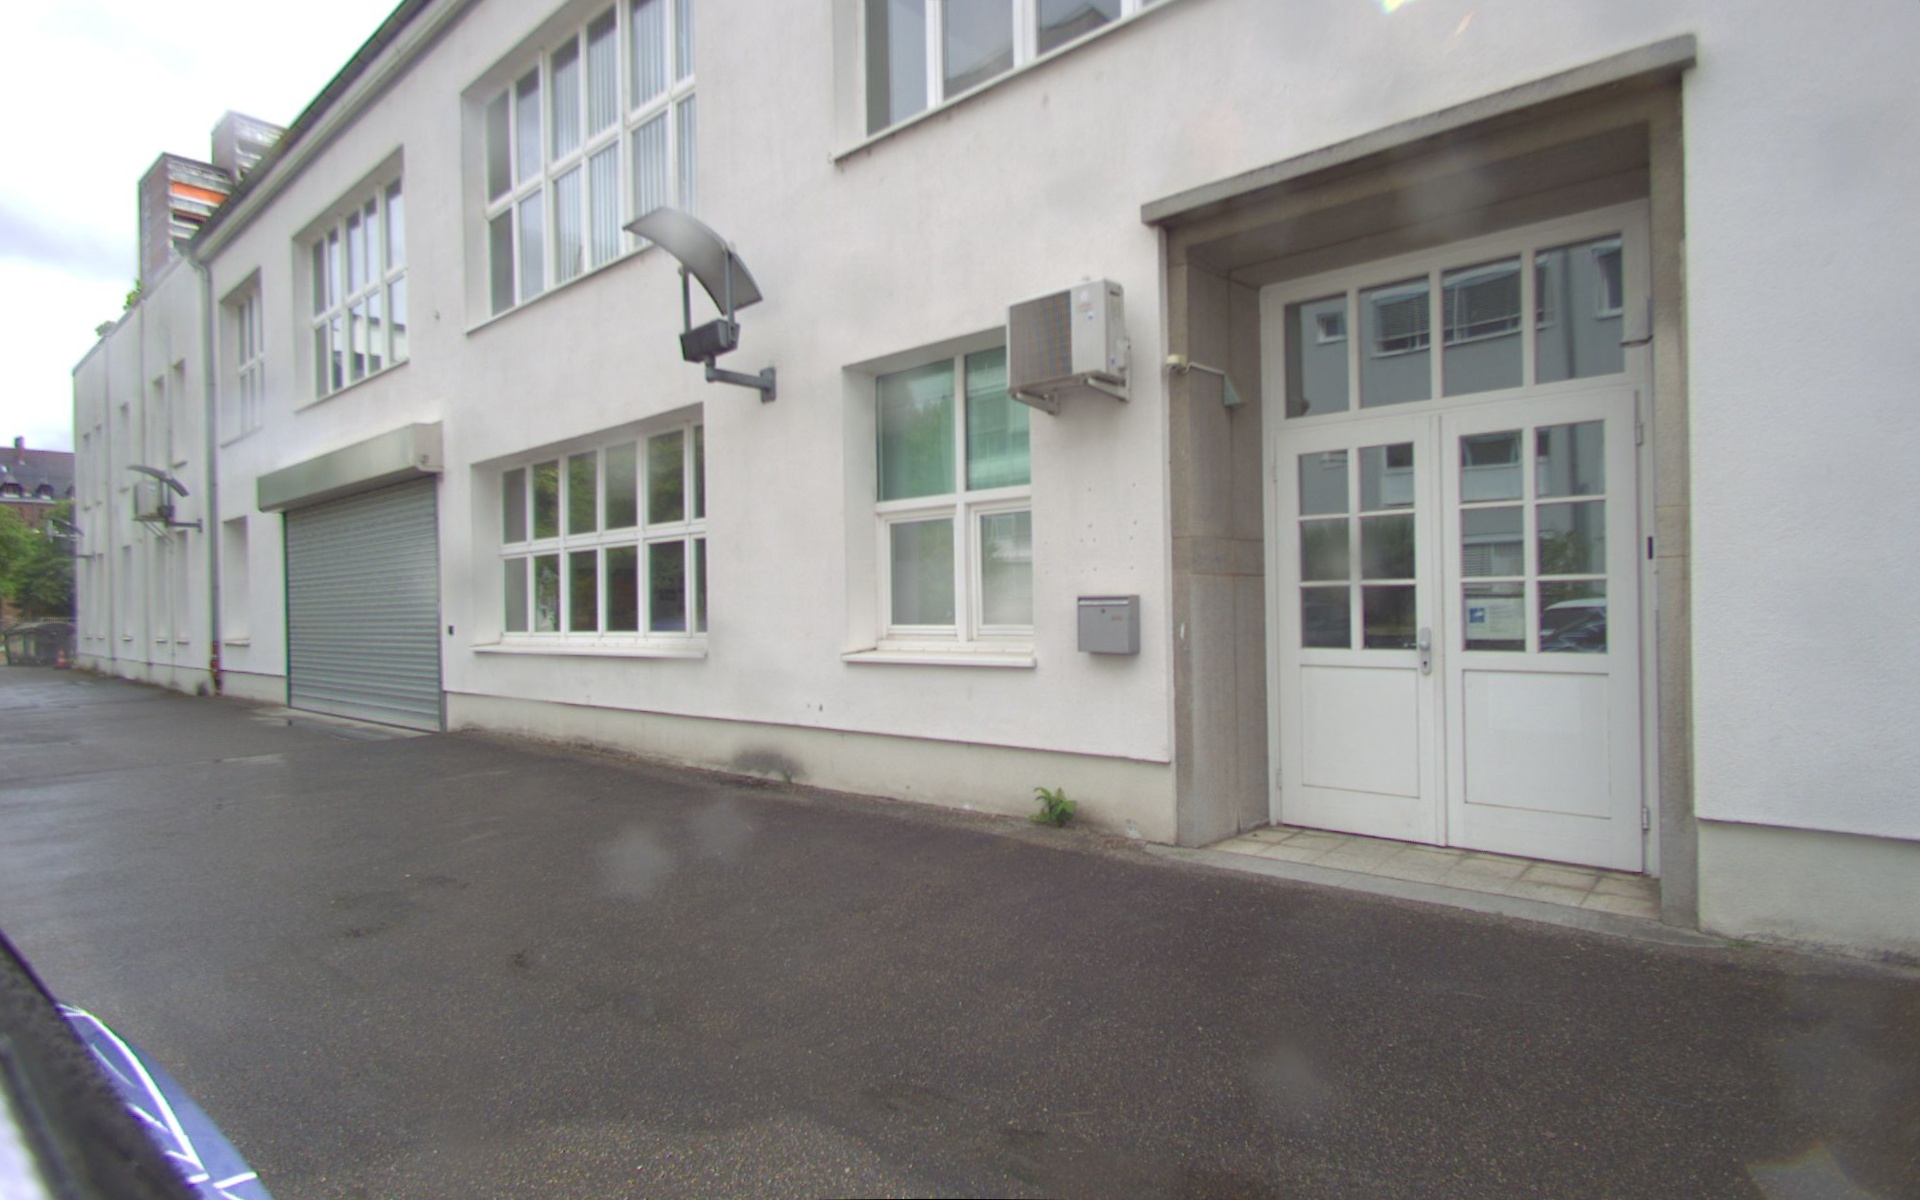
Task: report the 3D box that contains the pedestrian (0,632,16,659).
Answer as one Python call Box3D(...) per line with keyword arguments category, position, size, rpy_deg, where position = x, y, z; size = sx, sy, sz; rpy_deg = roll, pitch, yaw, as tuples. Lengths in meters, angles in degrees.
Box3D(category="pedestrian", position=(-54.520, 2.613, 57.776), size=(0.616, 1.520, 0.649), rpy_deg=(-2, -1, 1))

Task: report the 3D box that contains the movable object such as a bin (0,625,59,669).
Box3D(category="movable object such as a bin", position=(-33.911, 1.716, 36.883), size=(1.560, 1.481, 1.394), rpy_deg=(-3, 0, 41))

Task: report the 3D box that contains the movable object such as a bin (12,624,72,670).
Box3D(category="movable object such as a bin", position=(-31.634, 1.614, 34.886), size=(1.351, 1.481, 1.345), rpy_deg=(-3, 0, 41))

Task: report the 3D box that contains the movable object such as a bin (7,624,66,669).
Box3D(category="movable object such as a bin", position=(-32.719, 1.648, 35.845), size=(1.464, 1.481, 1.345), rpy_deg=(-3, 0, 41))

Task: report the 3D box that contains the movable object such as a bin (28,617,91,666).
Box3D(category="movable object such as a bin", position=(-29.254, 1.338, 32.878), size=(1.365, 1.481, 1.345), rpy_deg=(-3, 0, 41))

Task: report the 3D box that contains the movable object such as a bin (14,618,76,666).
Box3D(category="movable object such as a bin", position=(-30.621, 1.408, 33.873), size=(1.365, 1.481, 1.345), rpy_deg=(-3, 0, 41))
